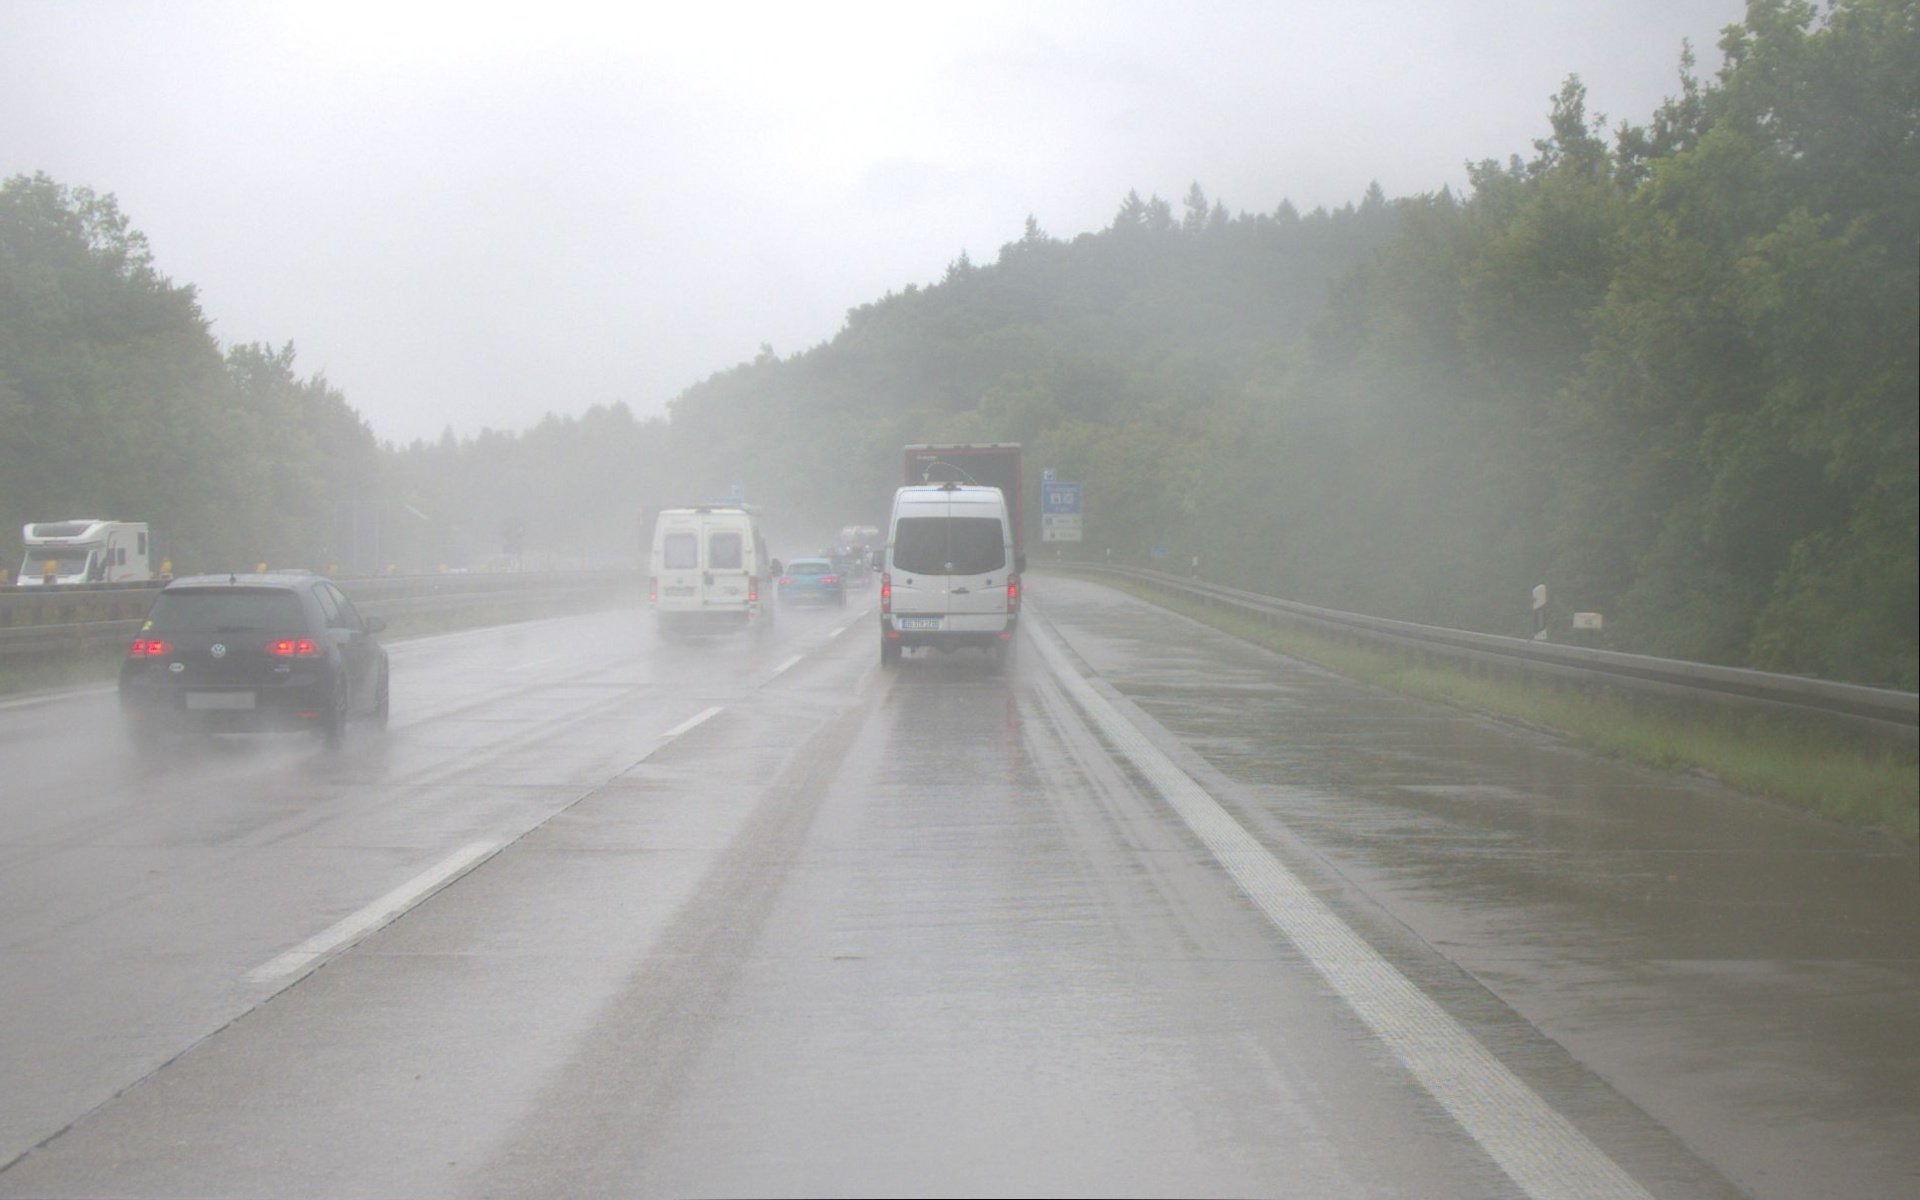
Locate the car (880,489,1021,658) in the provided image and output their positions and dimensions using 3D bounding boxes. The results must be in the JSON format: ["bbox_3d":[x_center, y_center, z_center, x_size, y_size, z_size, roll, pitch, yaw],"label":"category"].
[{"bbox_3d":[-0.189,-0.414,51.093,1.899,2.326,5.251,2,1,-1],"label":"car"}]

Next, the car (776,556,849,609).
[{"bbox_3d":[-4.045,-0.492,93.708,1.856,1.334,4.352,2,1,-4],"label":"car"}]

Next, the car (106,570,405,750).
[{"bbox_3d":[-5.832,0.447,28.911,1.740,1.383,4.322,0,0,-2],"label":"car"}]

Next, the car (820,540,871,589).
[{"bbox_3d":[-4.366,-1.380,131.864,1.868,1.804,4.189,2,1,-1],"label":"car"}]

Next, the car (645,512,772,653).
[{"bbox_3d":[-4.600,-0.361,63.626,1.997,2.423,5.791,2,1,-2],"label":"car"}]

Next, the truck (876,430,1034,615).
[{"bbox_3d":[-0.157,-1.907,79.940,3.385,3.954,8.668,-2,3,-1],"label":"truck"}]
